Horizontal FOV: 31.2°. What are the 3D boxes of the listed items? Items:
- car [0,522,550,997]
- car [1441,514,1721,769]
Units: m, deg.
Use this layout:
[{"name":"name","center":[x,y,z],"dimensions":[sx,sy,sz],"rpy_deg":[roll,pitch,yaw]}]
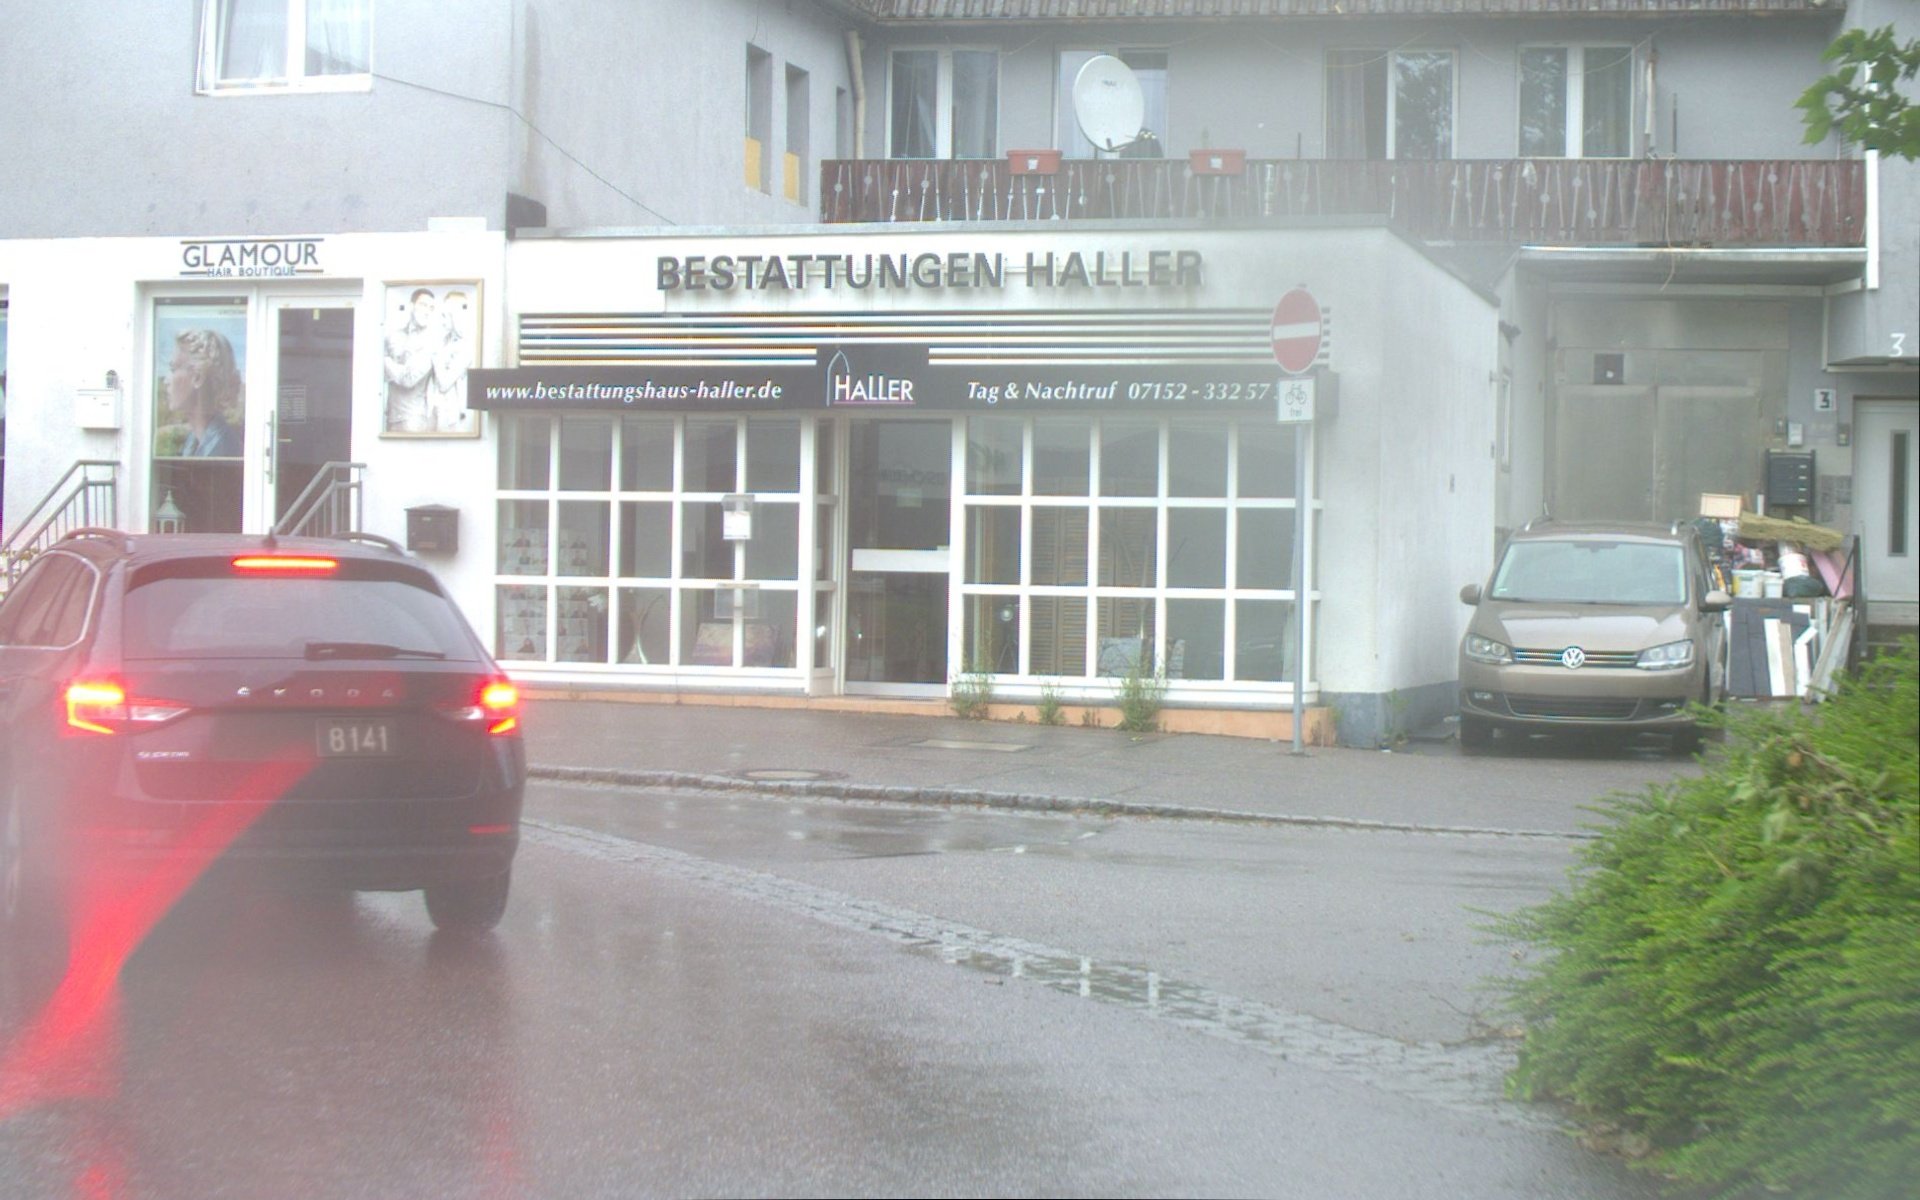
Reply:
[{"name":"car","center":[-3.002,0.475,13.412],"dimensions":[1.731,1.445,4.243],"rpy_deg":[0,2,-22]},{"name":"car","center":[4.944,0.231,26.909],"dimensions":[1.925,1.722,4.666],"rpy_deg":[1,2,13]}]
